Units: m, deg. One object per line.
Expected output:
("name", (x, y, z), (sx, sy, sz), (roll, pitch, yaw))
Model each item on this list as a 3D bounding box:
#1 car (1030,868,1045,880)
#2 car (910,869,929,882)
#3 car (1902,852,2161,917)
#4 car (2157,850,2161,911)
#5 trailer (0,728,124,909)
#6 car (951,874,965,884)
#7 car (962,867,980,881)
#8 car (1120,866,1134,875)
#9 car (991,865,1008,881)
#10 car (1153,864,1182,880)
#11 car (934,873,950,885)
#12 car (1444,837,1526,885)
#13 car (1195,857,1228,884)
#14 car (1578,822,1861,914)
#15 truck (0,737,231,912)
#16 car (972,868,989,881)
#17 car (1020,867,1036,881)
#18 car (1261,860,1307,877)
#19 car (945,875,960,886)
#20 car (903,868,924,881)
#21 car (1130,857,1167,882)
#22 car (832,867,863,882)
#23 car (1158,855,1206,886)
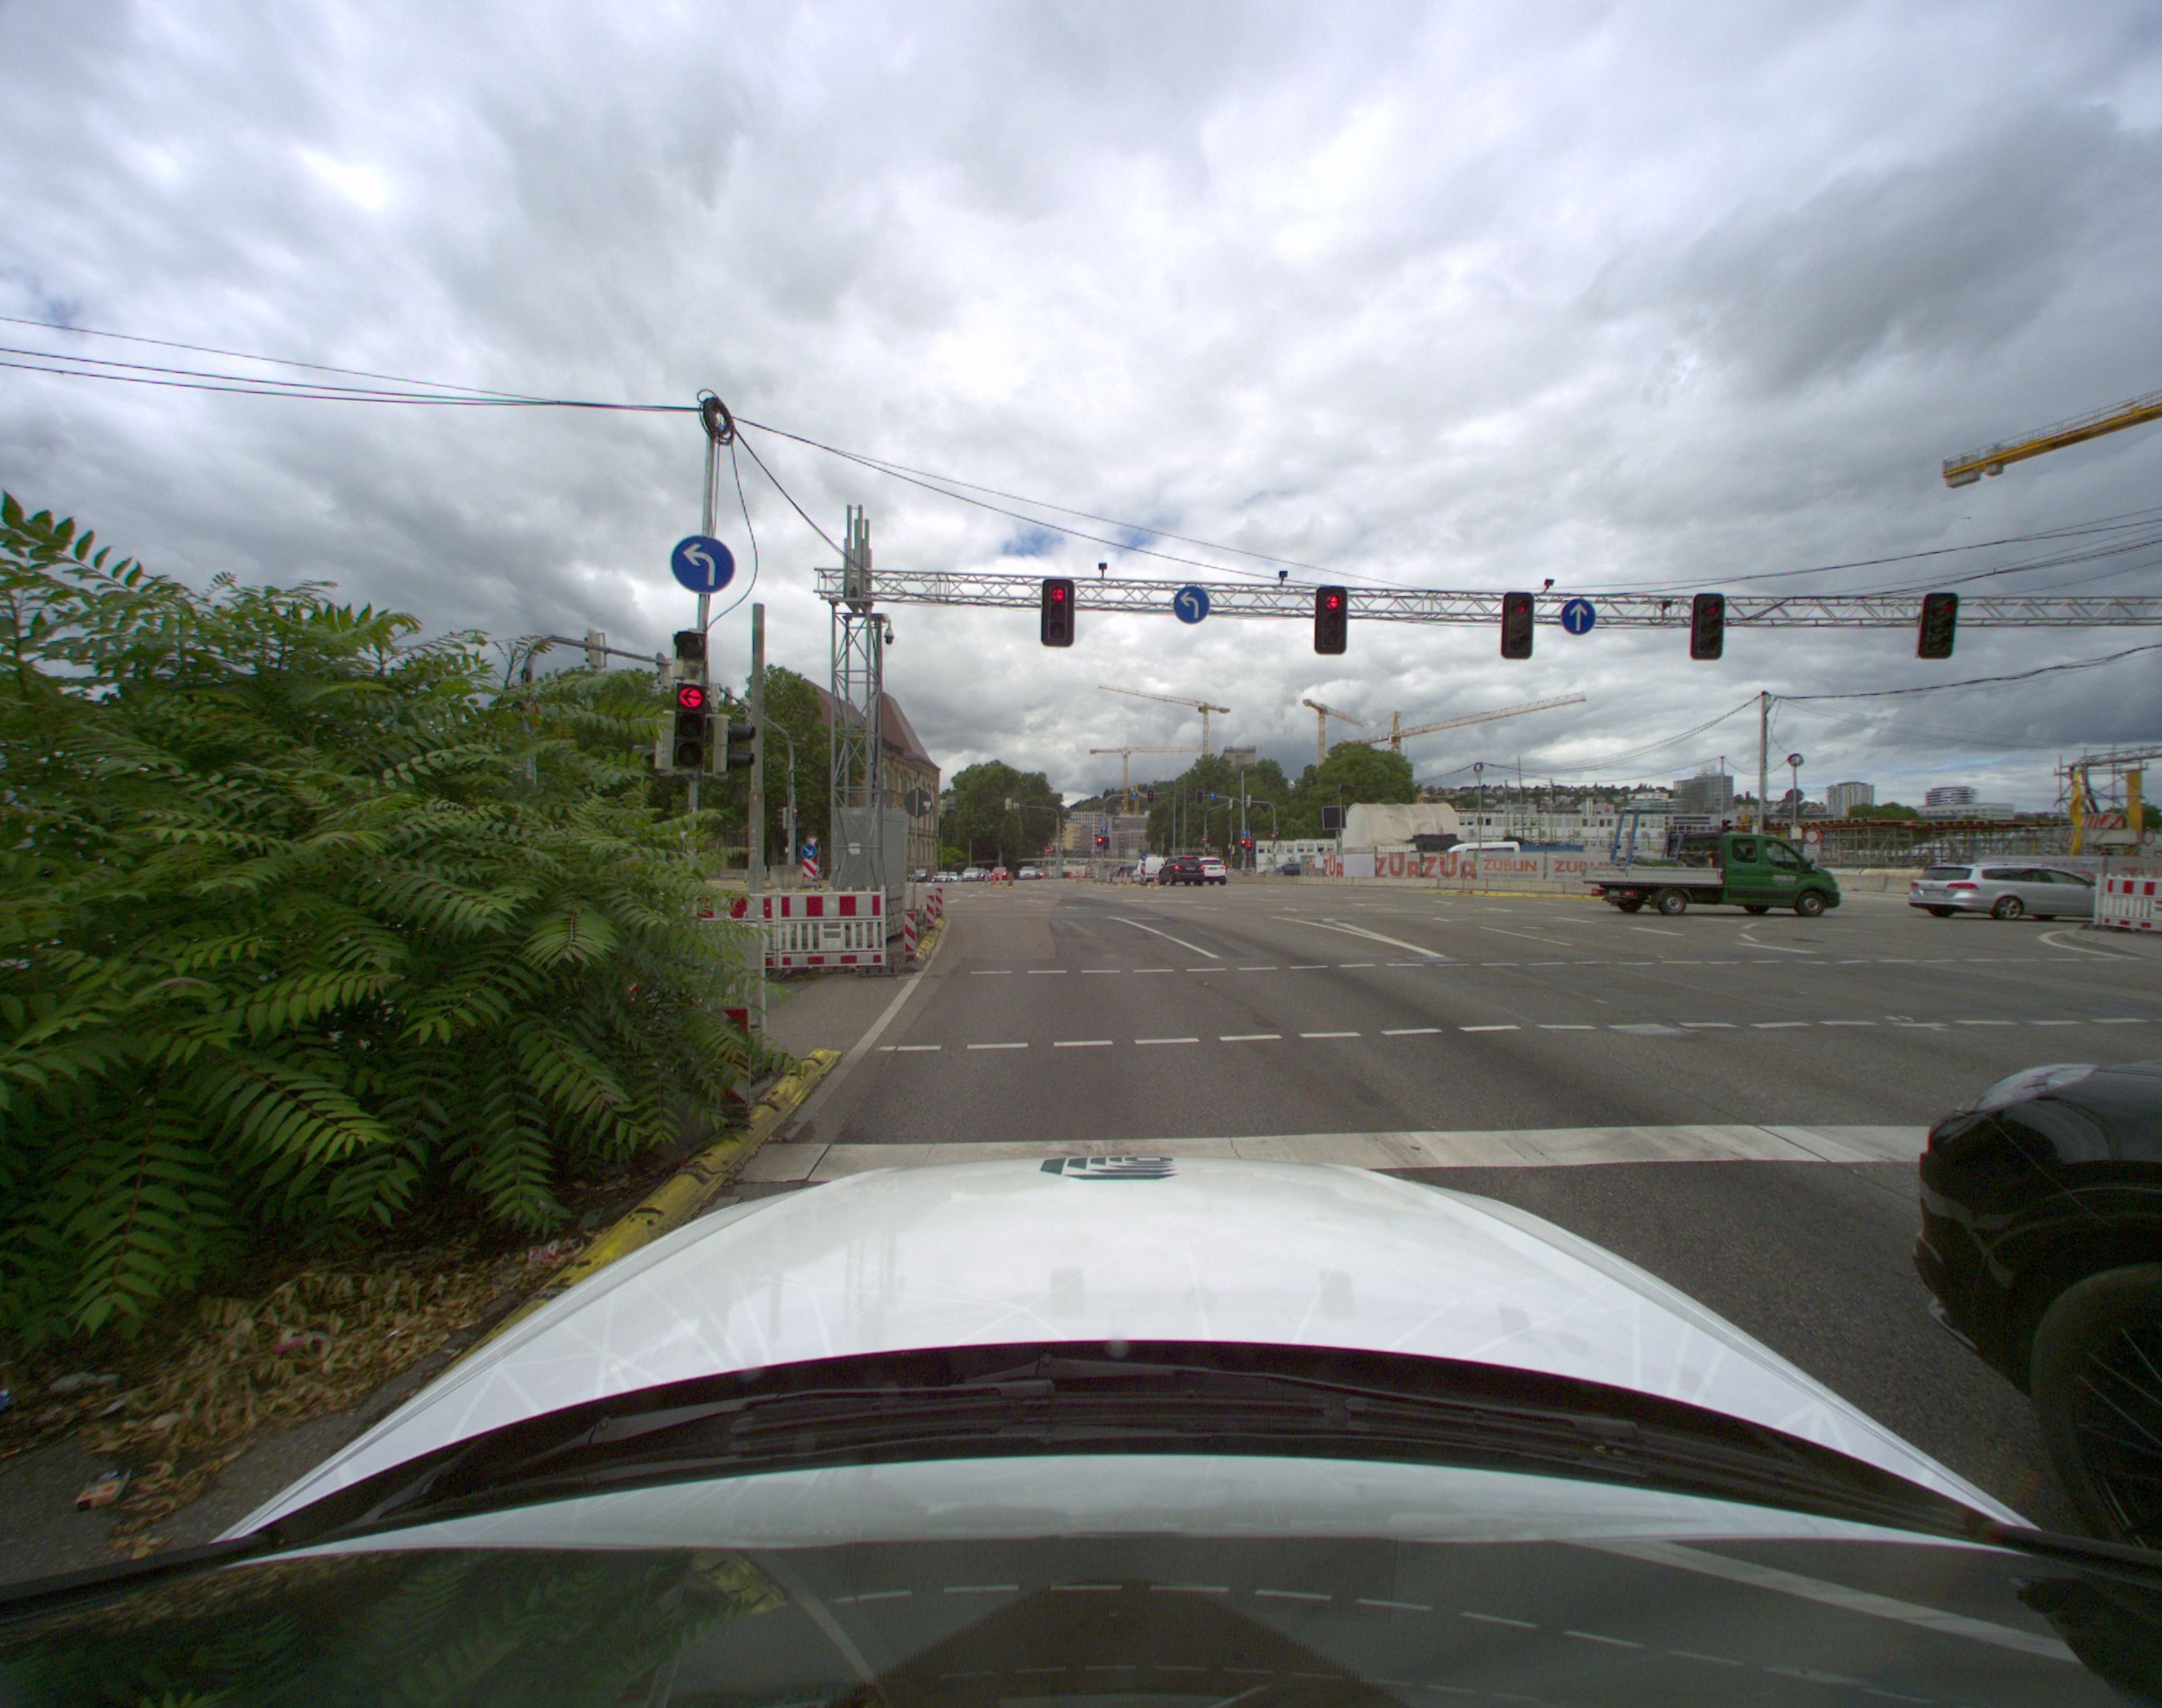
("car", (-5.166, 2.311, 95.509), (1.673, 1.398, 3.677), (0, -1, -4))
("car", (-17.723, 2.372, 89.568), (1.673, 1.398, 3.677), (0, -1, -4))
("car", (24.835, 0.776, 21.408), (4.691, 1.625, 1.682), (0, -1, 2))
("car", (35.350, 0.789, 24.192), (4.251, 1.882, 1.831), (0, -1, 1))
("trailer", (-32.424, -0.774, 20.003), (13.708, 4.281, 2.945), (0, -1, -3))
("car", (-17.484, 3.568, 116.109), (1.673, 1.398, 3.677), (0, -1, -4))
("car", (-11.622, 2.128, 86.076), (1.673, 1.398, 3.677), (0, -1, -4))
("car", (6.148, 2.171, 108.312), (1.307, 1.075, 3.675), (0, 0, -6))
("car", (-8.482, 2.005, 85.092), (1.673, 1.580, 3.677), (0, -1, -4))
("car", (8.018, 1.687, 75.959), (1.680, 1.398, 3.069), (0, -1, -16))
("car", (-17.265, 3.139, 101.186), (1.673, 1.398, 3.677), (0, -1, -4))
("car", (23.229, 0.424, 46.974), (3.957, 2.662, 1.688), (-1, -1, 15))
("car", (8.477, 1.058, 53.001), (1.670, 1.702, 3.375), (0, -1, 2))
("car", (16.940, 0.371, 21.891), (5.735, 2.305, 2.305), (0, -1, 2))
("truck", (-25.284, -0.672, 20.329), (4.864, 4.064, 2.942), (0, -1, -3))
("car", (-11.368, 2.278, 92.233), (1.673, 1.398, 3.677), (0, -1, -4))
("car", (-5.589, 2.078, 85.362), (1.673, 1.398, 3.677), (0, -1, -4))
("car", (19.891, 1.442, 79.693), (3.996, 1.625, 1.812), (0, -1, -17))
("car", (-17.156, 3.560, 108.665), (1.673, 1.398, 3.677), (0, 0, -5))
("car", (-17.908, 2.182, 87.087), (1.673, 1.398, 3.677), (0, -1, -4))
("car", (4.565, 1.022, 55.578), (1.814, 1.625, 3.992), (0, -1, -5))
("car", (-22.685, 1.981, 79.266), (1.667, 1.398, 3.689), (0, -1, 6))
("car", (5.958, 0.943, 48.494), (1.830, 1.746, 4.244), (0, -1, -8))
